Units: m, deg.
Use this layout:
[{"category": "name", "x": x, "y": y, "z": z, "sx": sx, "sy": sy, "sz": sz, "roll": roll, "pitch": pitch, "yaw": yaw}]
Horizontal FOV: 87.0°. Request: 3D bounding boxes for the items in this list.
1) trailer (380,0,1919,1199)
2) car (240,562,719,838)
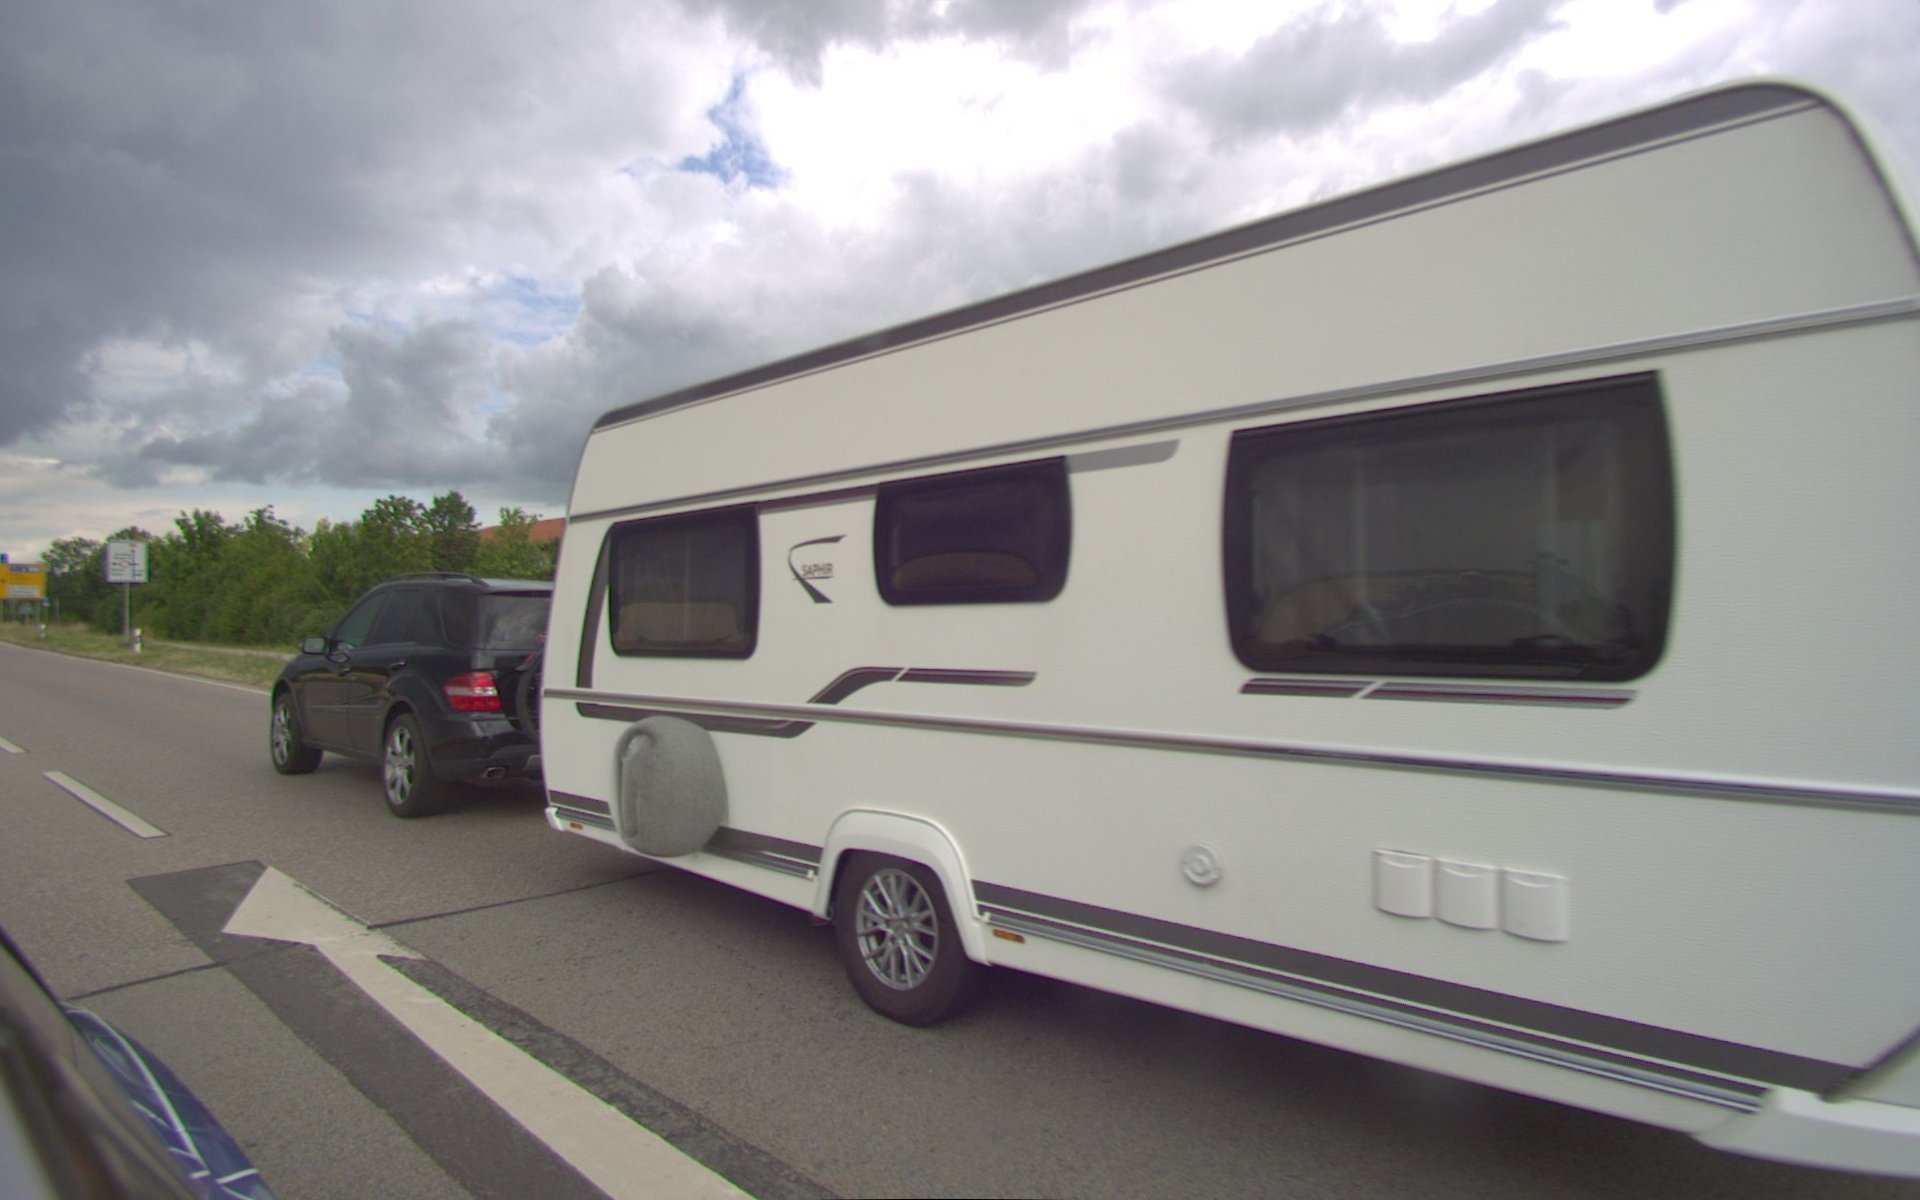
[{"category": "trailer", "x": -0.102, "y": 0.187, "z": 4.857, "sx": 7.841, "sy": 2.750, "sz": 2.299, "roll": -1, "pitch": -2, "yaw": 42}, {"category": "car", "x": -4.261, "y": 0.670, "z": 8.590, "sx": 4.673, "sy": 1.712, "sz": 1.973, "roll": -1, "pitch": -2, "yaw": 41}]
